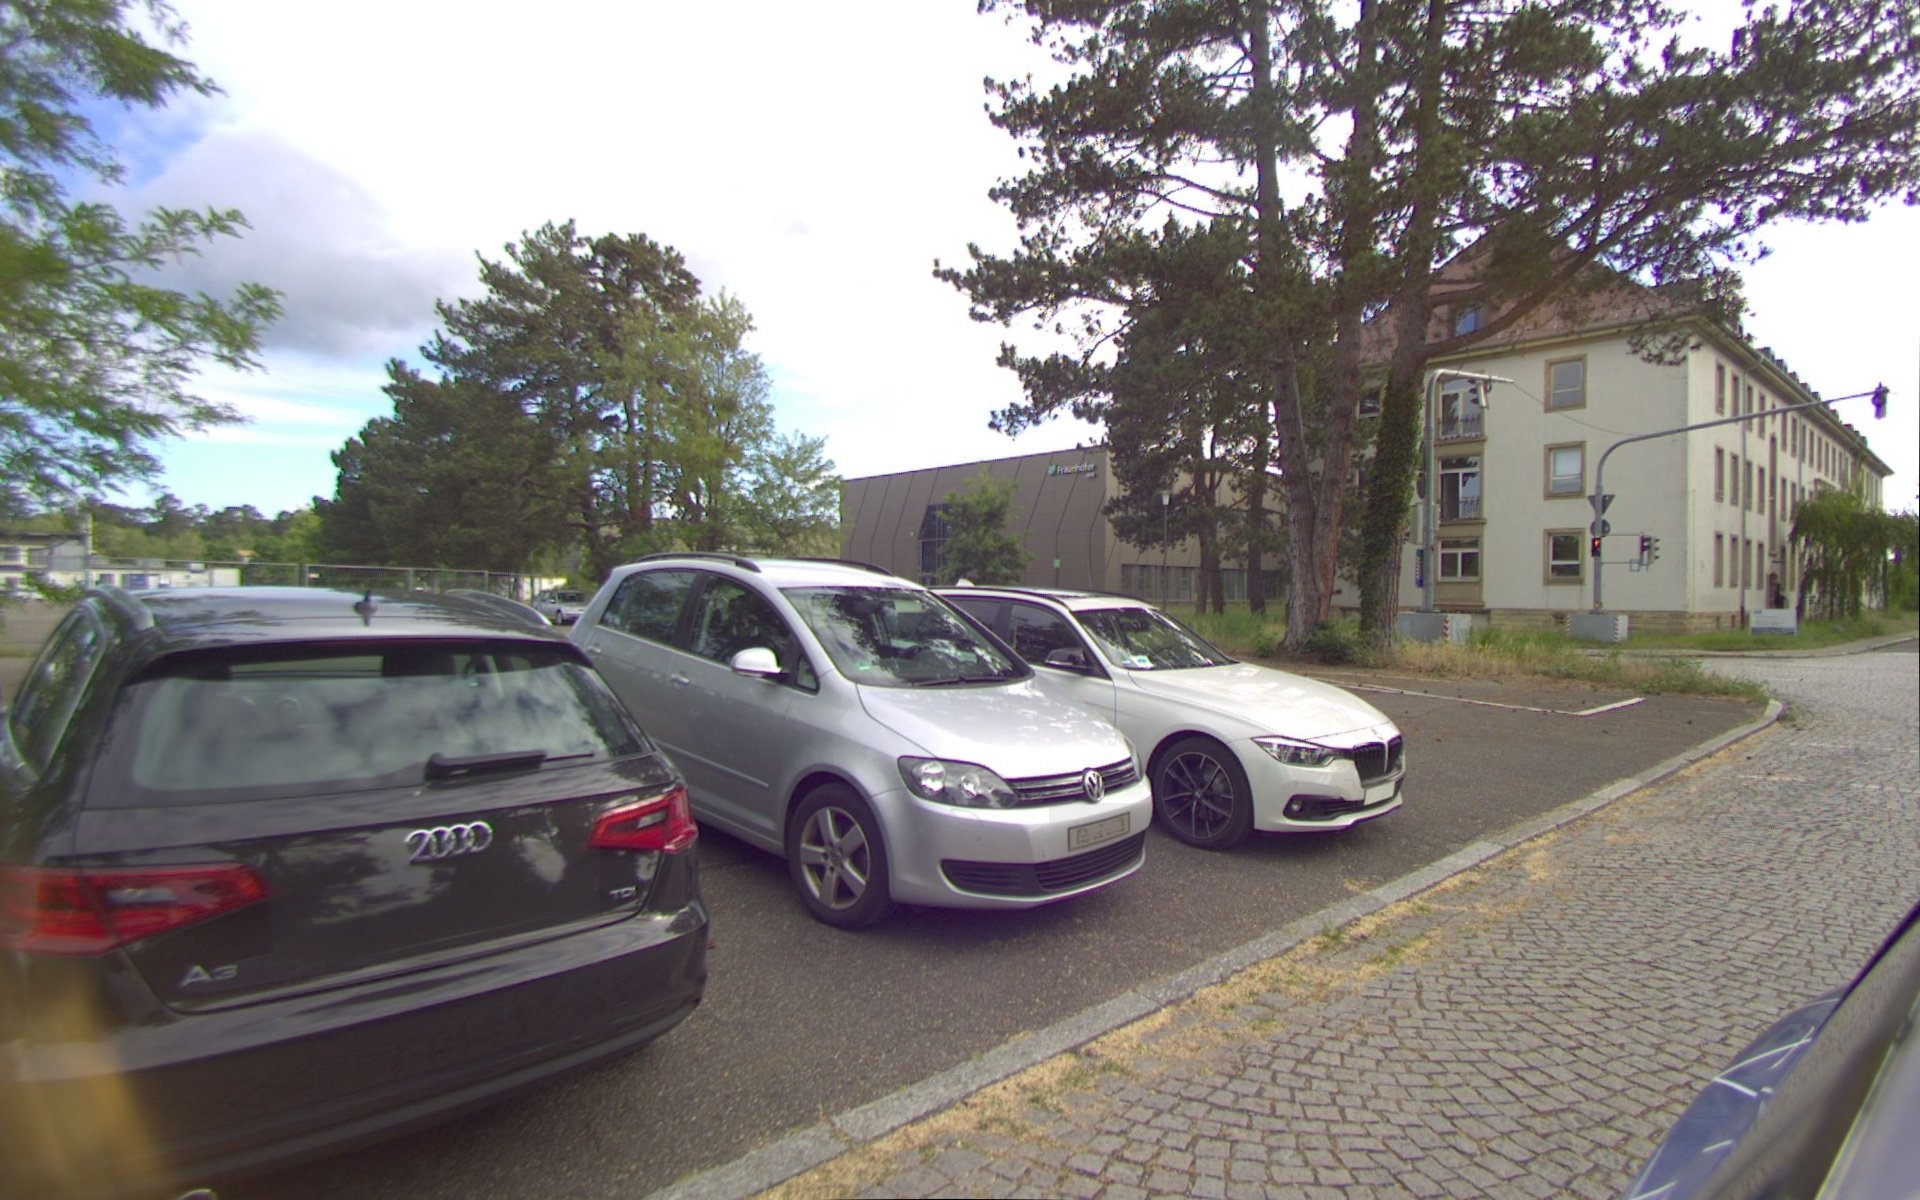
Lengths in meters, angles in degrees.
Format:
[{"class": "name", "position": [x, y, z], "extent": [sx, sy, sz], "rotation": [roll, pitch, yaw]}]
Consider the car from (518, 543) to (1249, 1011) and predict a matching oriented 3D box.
[{"class": "car", "position": [-0.751, 0.561, 5.835], "extent": [4.243, 1.615, 1.855], "rotation": [5, 3, 45]}]

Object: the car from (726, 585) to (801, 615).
[{"class": "car", "position": [-12.676, 0.008, 65.489], "extent": [4.401, 1.854, 1.996], "rotation": [0, 0, -43]}]

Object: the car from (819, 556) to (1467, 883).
[{"class": "car", "position": [1.054, 0.562, 7.579], "extent": [1.874, 1.585, 4.498], "rotation": [0, 3, -44]}]

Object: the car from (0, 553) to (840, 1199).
[{"class": "car", "position": [-2.432, 0.646, 3.702], "extent": [1.854, 1.470, 4.078], "rotation": [0, 3, -44]}]

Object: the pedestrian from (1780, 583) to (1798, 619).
[{"class": "pedestrian", "position": [39.815, 0.039, 48.604], "extent": [0.522, 1.722, 0.568], "rotation": [1, 0, -38]}]
